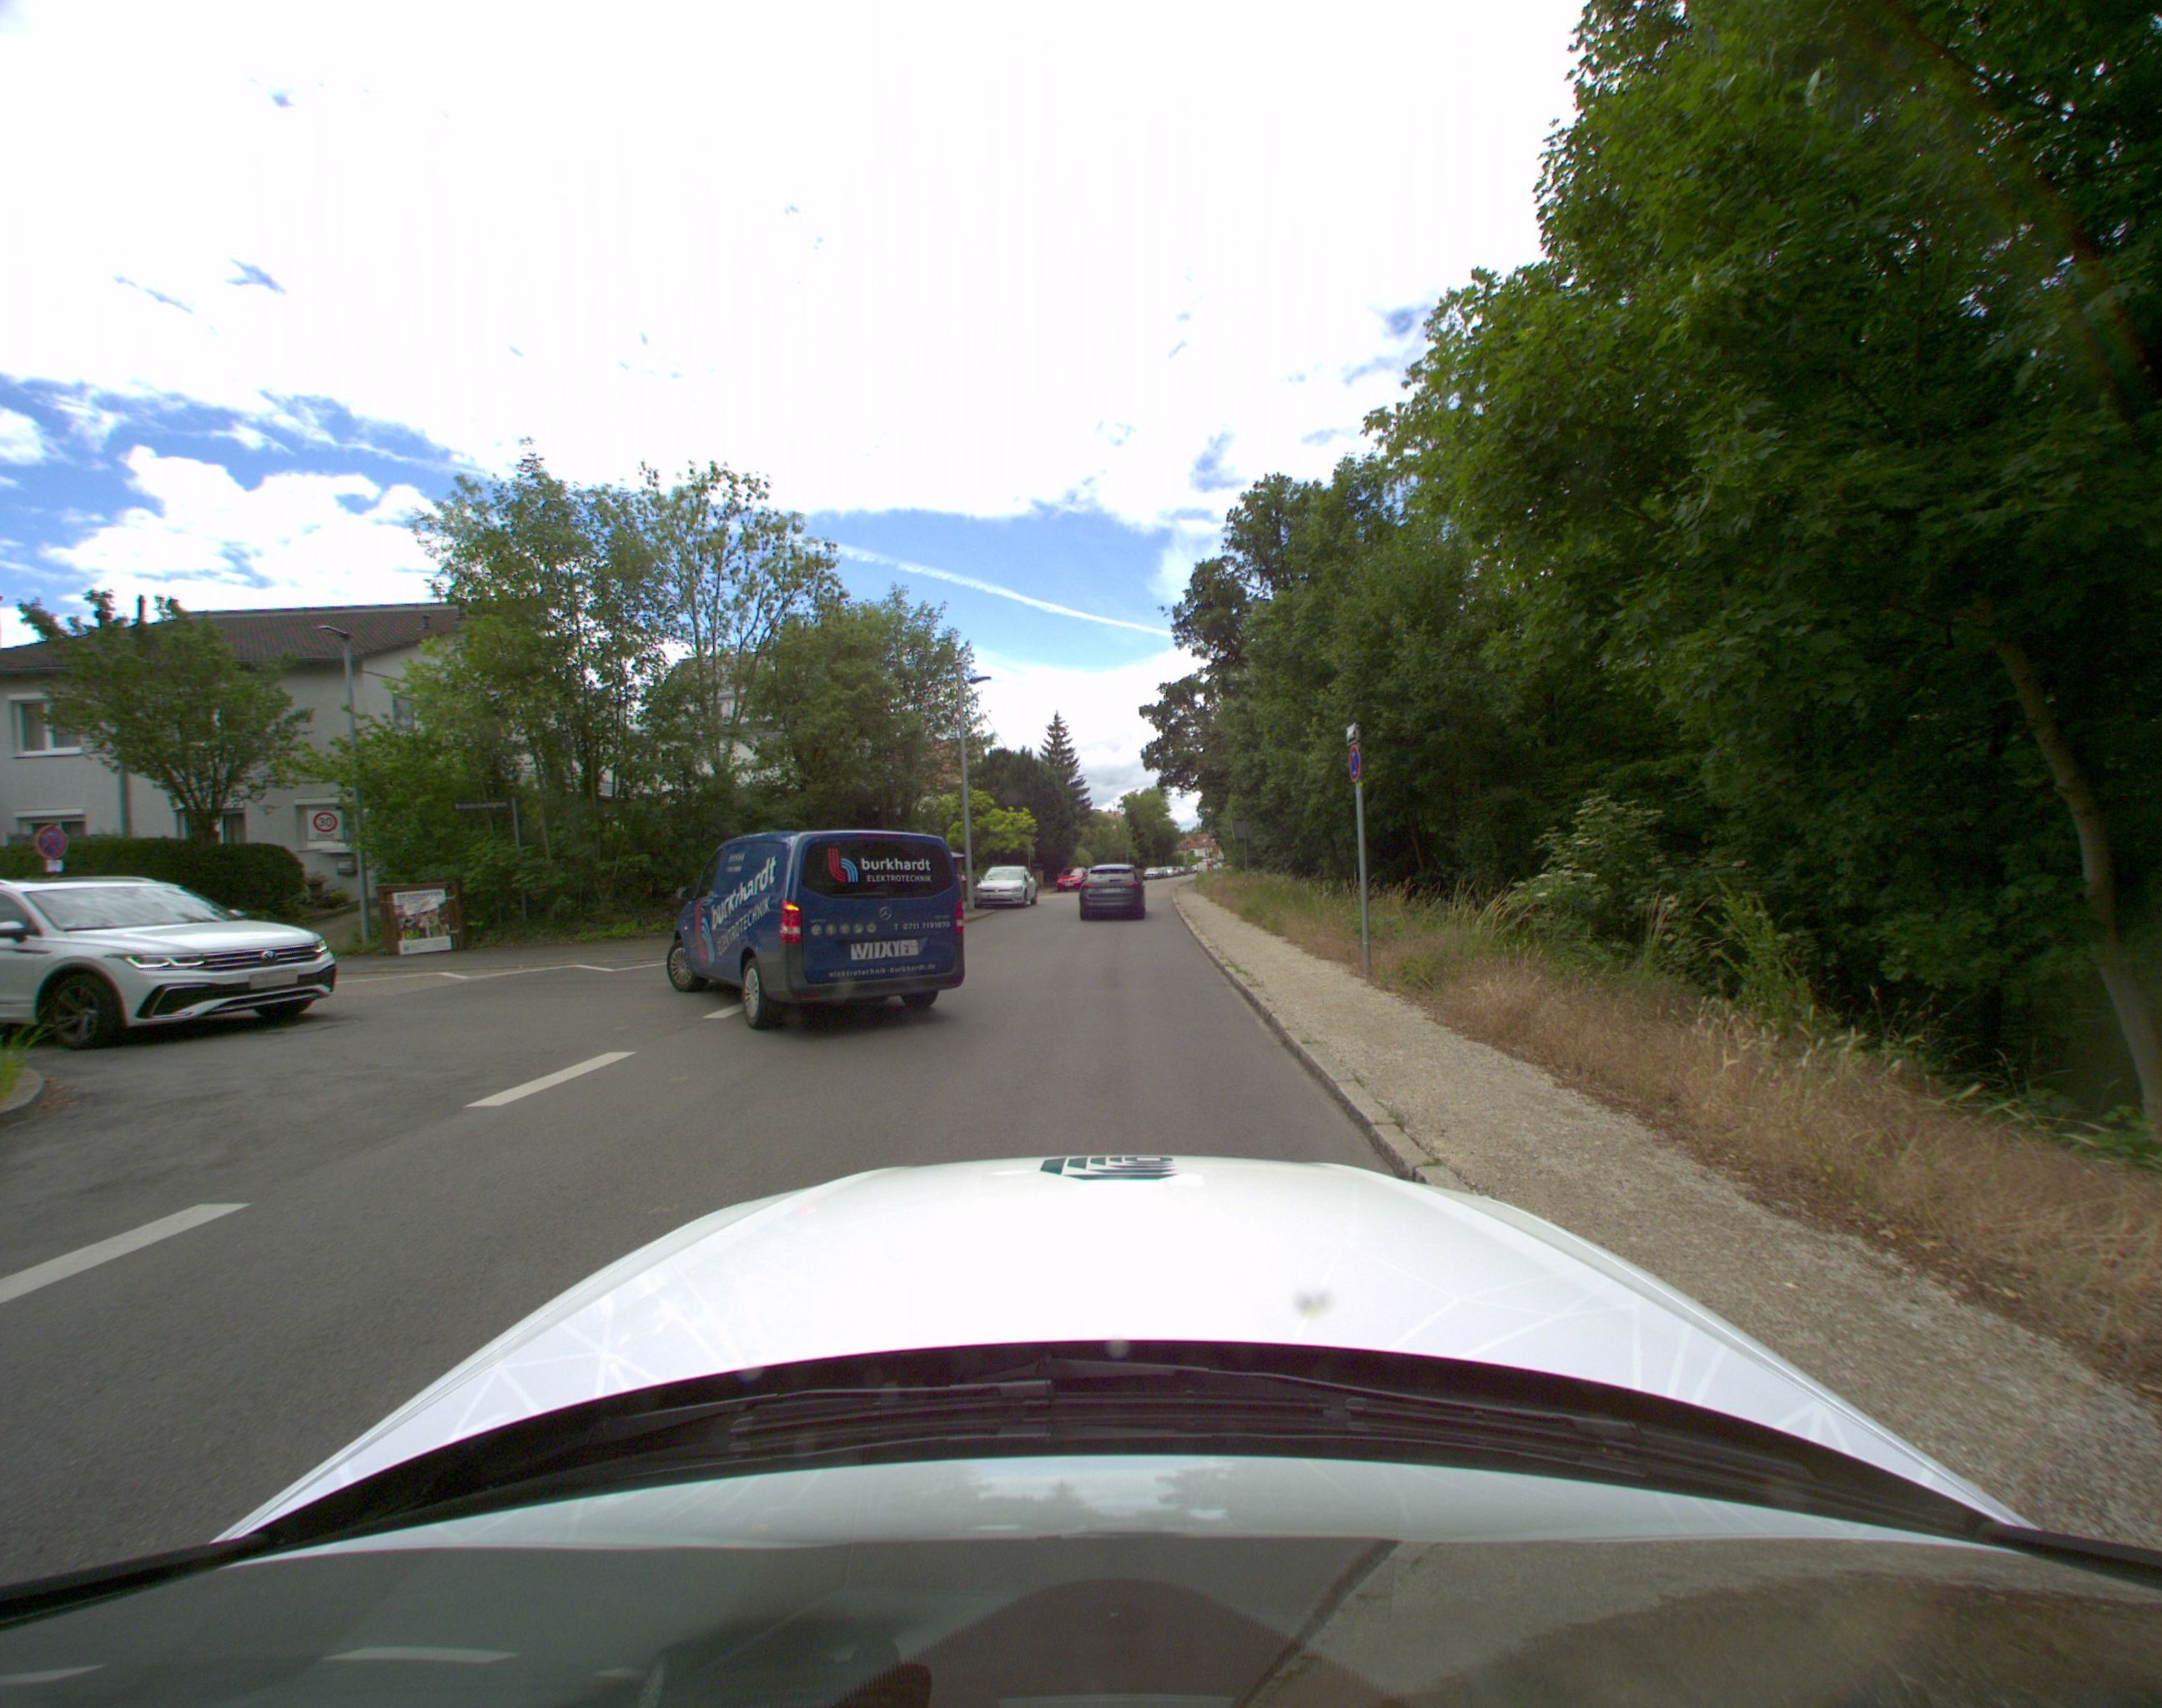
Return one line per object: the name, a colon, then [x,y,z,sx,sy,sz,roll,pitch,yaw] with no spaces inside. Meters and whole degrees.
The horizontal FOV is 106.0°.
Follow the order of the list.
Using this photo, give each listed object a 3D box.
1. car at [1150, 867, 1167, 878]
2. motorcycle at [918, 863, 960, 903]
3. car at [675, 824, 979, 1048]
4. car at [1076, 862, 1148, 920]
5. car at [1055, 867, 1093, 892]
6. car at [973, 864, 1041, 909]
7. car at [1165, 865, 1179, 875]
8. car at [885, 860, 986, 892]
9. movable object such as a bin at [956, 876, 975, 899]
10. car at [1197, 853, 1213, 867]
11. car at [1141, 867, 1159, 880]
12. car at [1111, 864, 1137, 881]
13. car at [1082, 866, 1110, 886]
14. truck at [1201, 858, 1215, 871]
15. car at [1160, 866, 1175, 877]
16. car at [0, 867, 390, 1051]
car: [9.800,2.338,102.886,1.738,1.405,4.012,-1,-1,11]
motorcycle: [-5.489,1.093,31.677,0.805,1.485,2.901,-1,-1,7]
car: [-3.121,0.710,9.258,1.951,1.880,4.480,-1,0,-36]
car: [0.959,0.969,22.830,1.726,1.447,4.187,-1,-1,6]
car: [-0.390,1.468,48.515,1.626,1.405,4.010,-1,-1,9]
car: [-2.578,1.116,29.265,1.697,1.468,4.081,-1,-1,5]
car: [14.011,2.486,125.449,1.738,1.405,4.012,-1,-1,11]
car: [-7.026,1.074,39.543,4.456,1.441,1.882,-1,-1,7]
movable object such as a bin: [-4.779,1.386,33.722,0.587,0.909,0.703,-1,-1,11]
car: [19.213,0.965,126.174,2.192,2.064,6.151,-2,-1,10]
car: [8.191,2.295,96.824,1.738,1.405,4.012,-1,-1,11]
car: [3.748,1.606,70.208,1.738,1.405,4.012,-1,-1,11]
car: [1.126,1.559,59.167,1.740,1.405,4.006,-1,-1,6]
truck: [27.962,2.225,178.791,2.746,2.794,9.295,-2,-1,11]
car: [12.270,2.453,115.657,1.738,1.405,4.012,-1,-1,11]
car: [-10.602,1.035,8.742,4.909,1.670,2.041,-1,-1,7]
